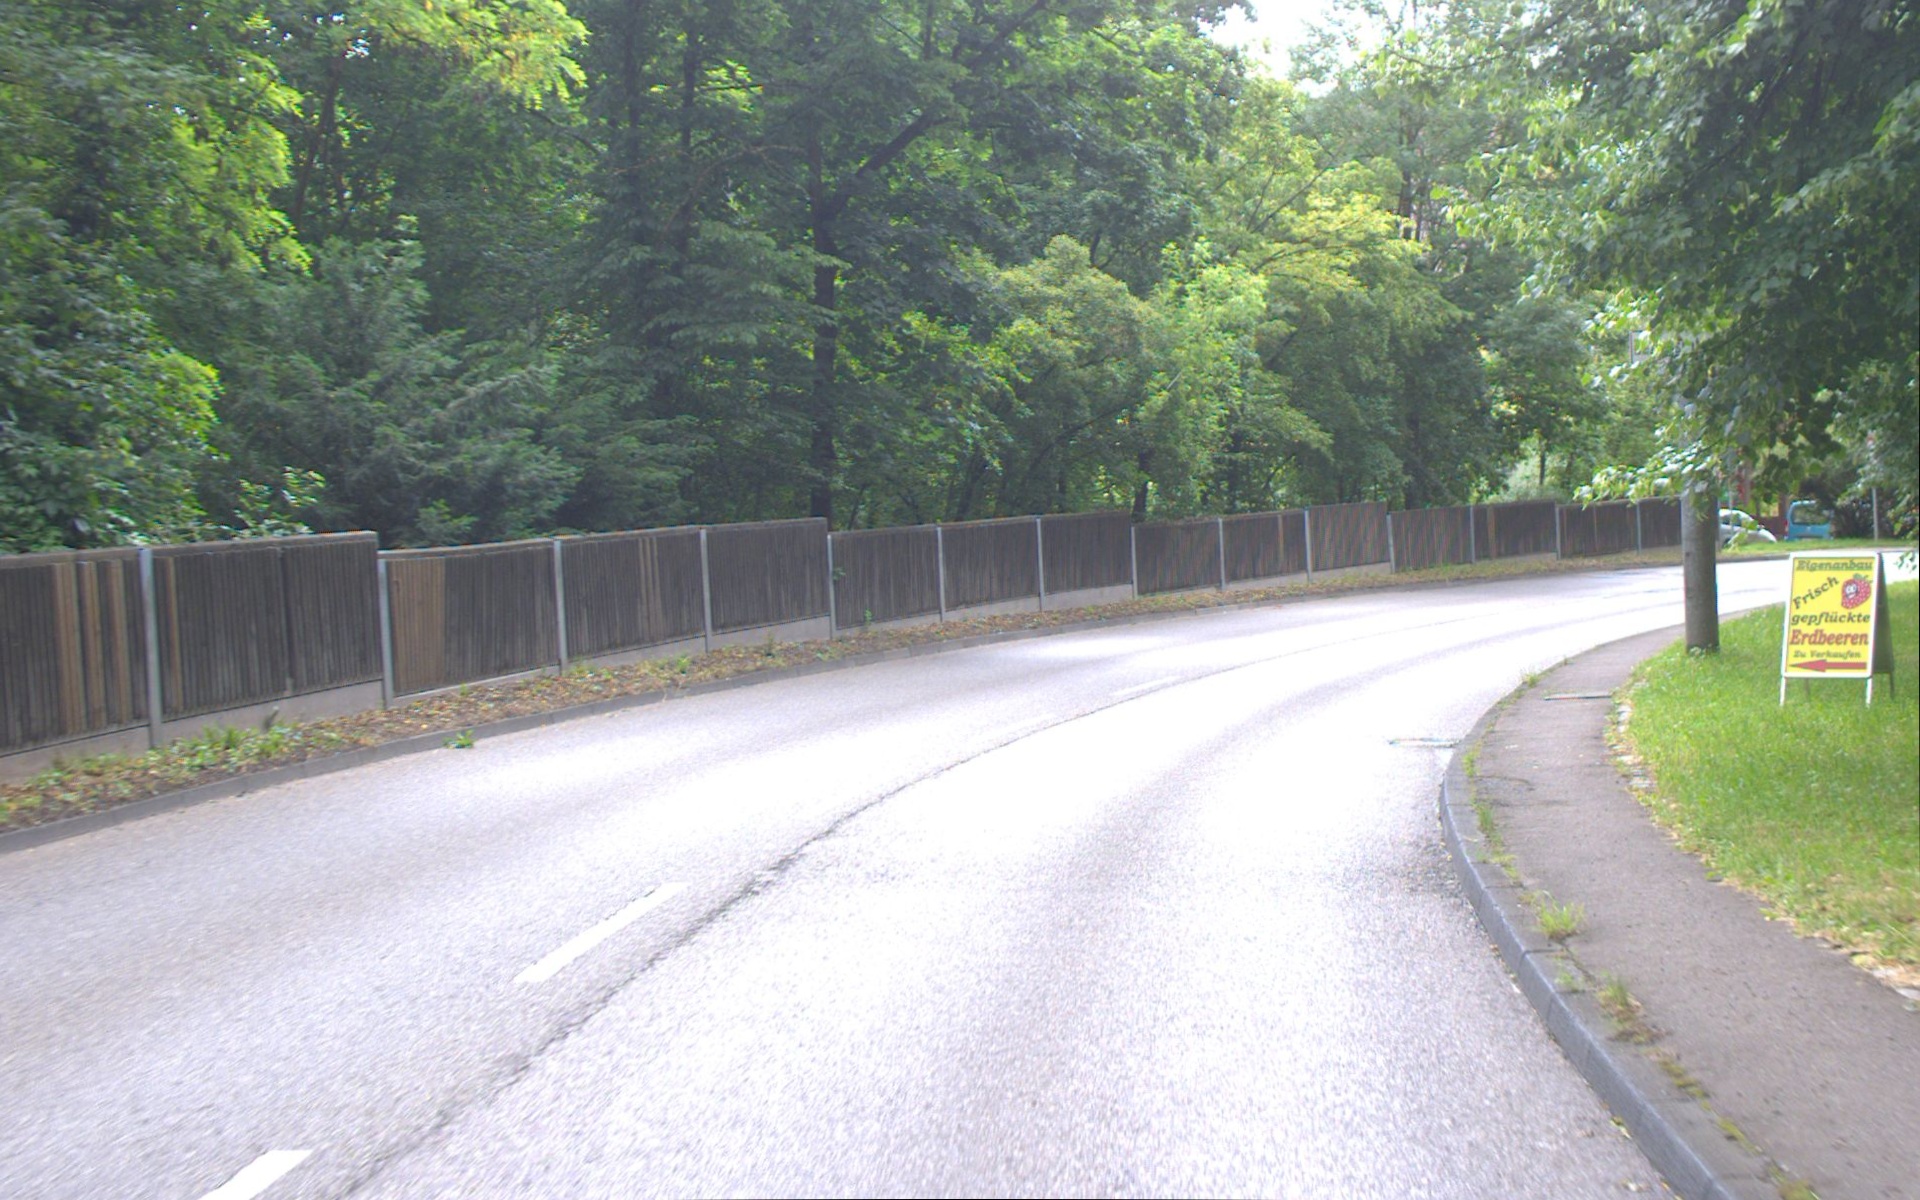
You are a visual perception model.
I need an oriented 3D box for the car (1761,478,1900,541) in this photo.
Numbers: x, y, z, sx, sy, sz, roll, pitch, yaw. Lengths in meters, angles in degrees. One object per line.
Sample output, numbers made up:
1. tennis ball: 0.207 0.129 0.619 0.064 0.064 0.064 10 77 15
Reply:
1. car: 25.546 -2.667 100.776 1.998 1.612 4.437 -3 0 43
